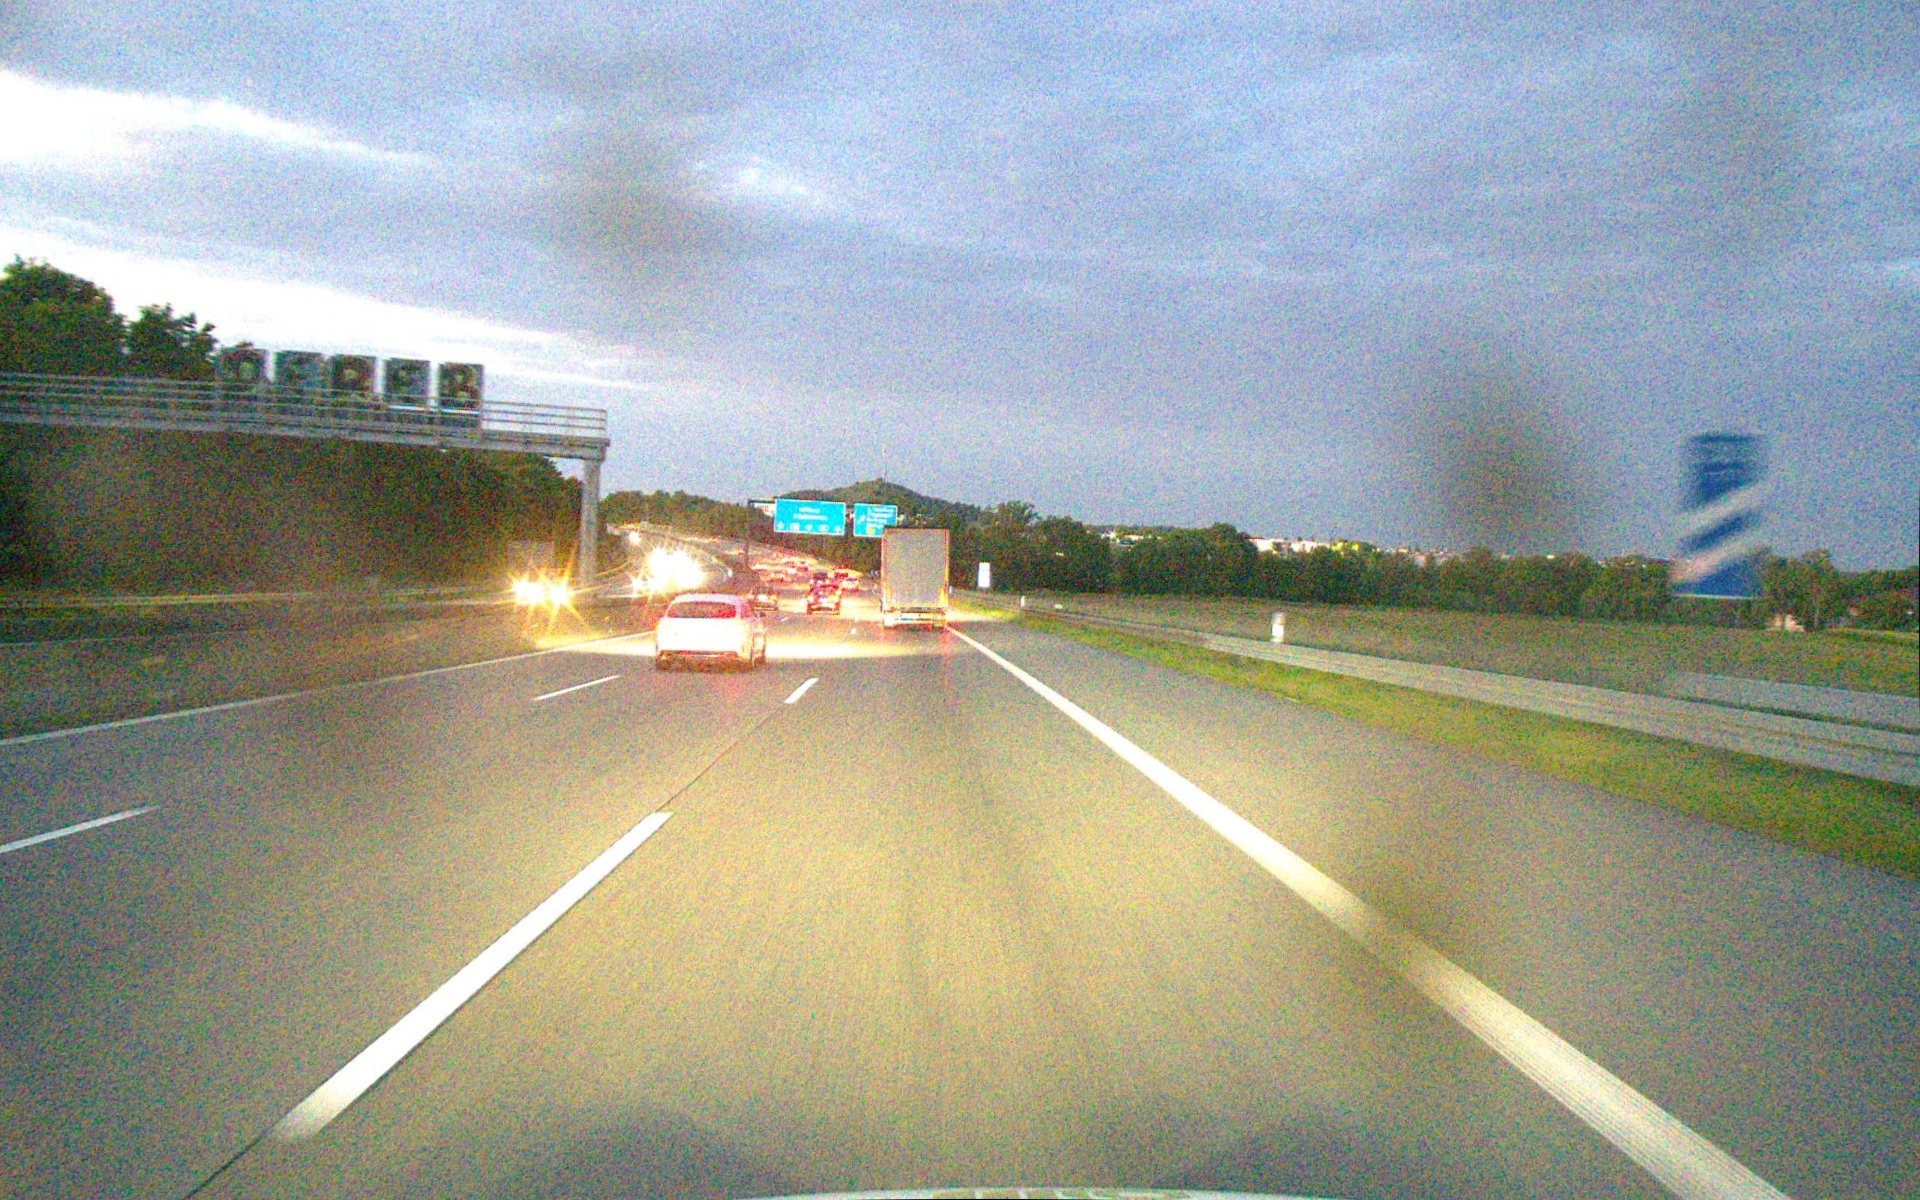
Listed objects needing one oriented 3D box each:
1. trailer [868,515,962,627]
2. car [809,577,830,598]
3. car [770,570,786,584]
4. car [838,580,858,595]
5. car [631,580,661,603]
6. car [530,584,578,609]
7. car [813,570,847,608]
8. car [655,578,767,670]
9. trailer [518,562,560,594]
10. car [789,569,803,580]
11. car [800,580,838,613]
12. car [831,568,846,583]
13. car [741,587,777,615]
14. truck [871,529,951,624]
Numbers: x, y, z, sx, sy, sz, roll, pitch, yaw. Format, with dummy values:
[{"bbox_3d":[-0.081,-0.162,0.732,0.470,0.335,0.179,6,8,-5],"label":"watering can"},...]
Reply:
[{"bbox_3d":[-2.051,-1.057,70.306,3.479,4.188,15.054,1,0,-3],"label":"trailer"},{"bbox_3d":[-14.264,-1.216,167.900,1.955,2.049,3.995,1,0,-6],"label":"car"},{"bbox_3d":[-23.765,-3.011,216.403,1.955,1.650,3.996,1,0,-5],"label":"car"},{"bbox_3d":[-11.836,-1.301,174.793,1.955,1.561,3.996,1,0,-5],"label":"car"},{"bbox_3d":[-27.432,-0.727,144.549,1.875,1.900,6.010,1,0,-4],"label":"car"},{"bbox_3d":[-23.082,-0.187,94.105,1.655,1.378,4.895,1,0,-2],"label":"car"},{"bbox_3d":[-8.686,-0.731,110.734,1.953,2.422,3.999,1,0,-1],"label":"car"},{"bbox_3d":[-4.817,0.431,32.522,1.869,1.642,4.798,1,0,-5],"label":"car"},{"bbox_3d":[-28.735,-1.501,113.002,1.874,2.037,4.239,3,0,-2],"label":"trailer"},{"bbox_3d":[-25.254,-3.897,255.316,1.956,1.650,3.993,1,0,-8],"label":"car"},{"bbox_3d":[-7.748,-0.209,91.120,2.024,1.715,4.572,1,0,-4],"label":"car"},{"bbox_3d":[-17.413,-3.510,236.369,1.955,2.012,3.994,1,0,-7],"label":"car"},{"bbox_3d":[-12.038,0.038,99.201,1.726,1.602,4.574,1,0,-2],"label":"car"},{"bbox_3d":[-2.351,-1.029,76.657,3.480,4.163,6.147,1,0,-3],"label":"truck"}]
